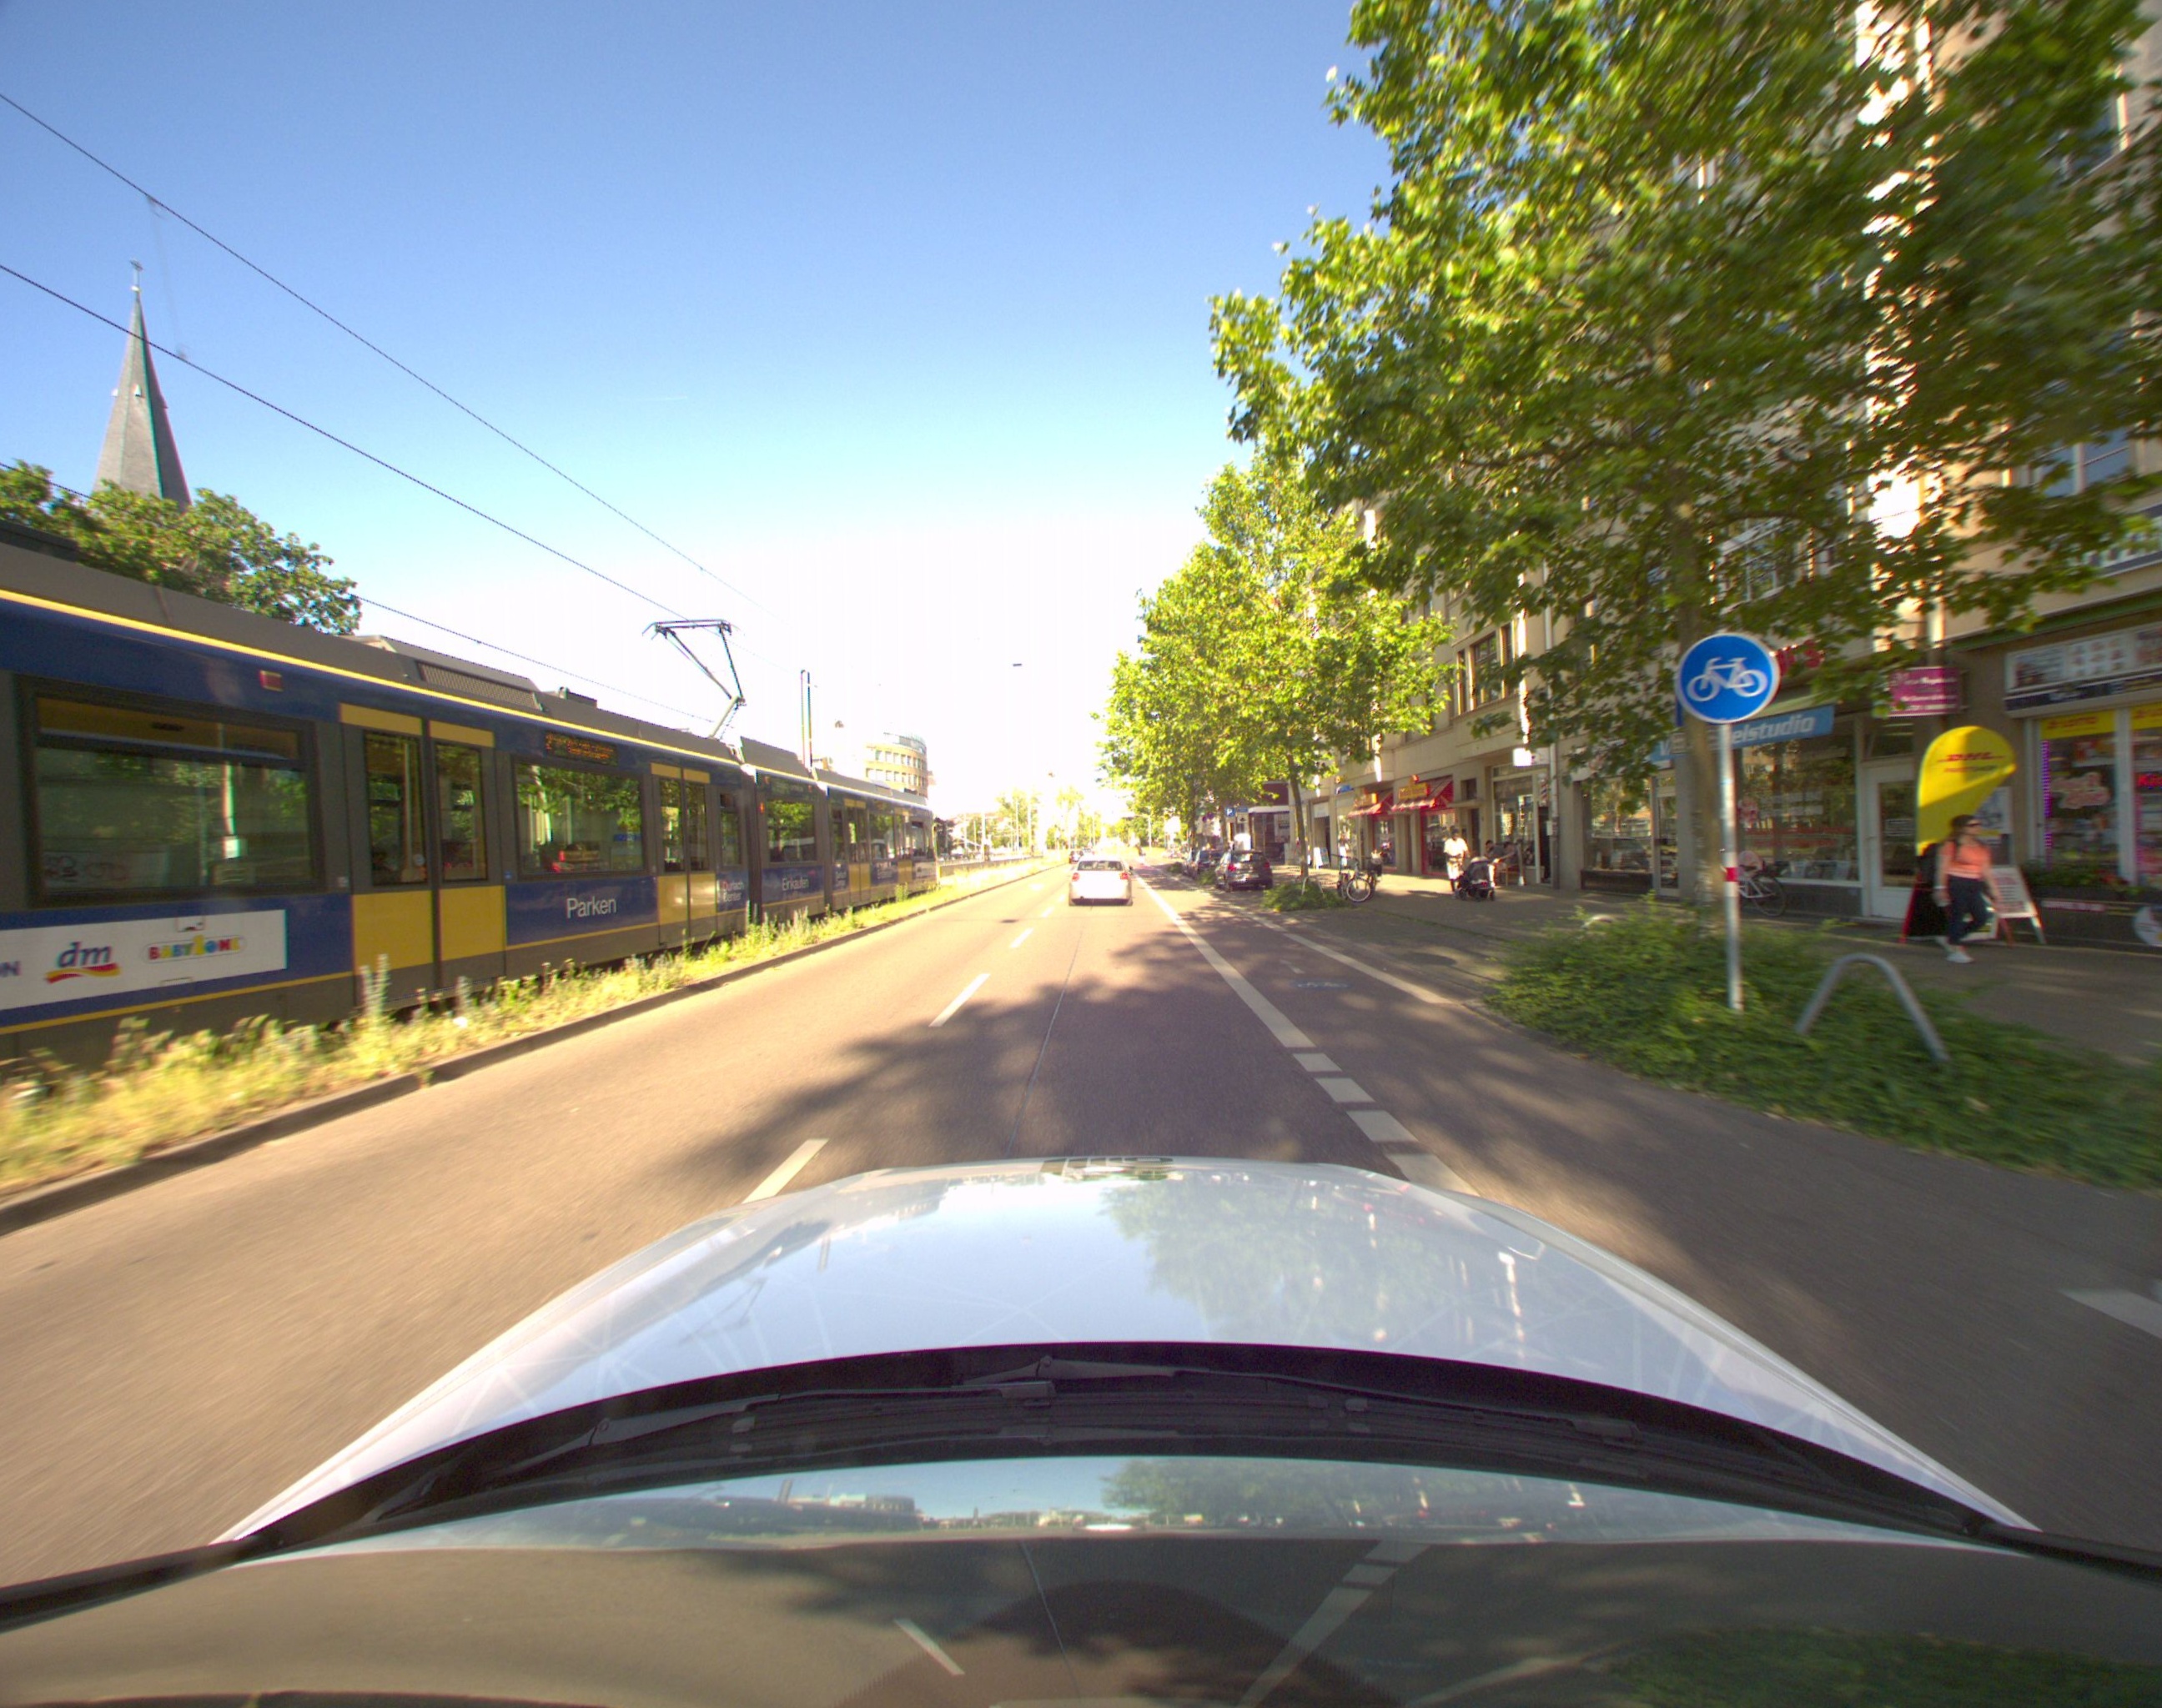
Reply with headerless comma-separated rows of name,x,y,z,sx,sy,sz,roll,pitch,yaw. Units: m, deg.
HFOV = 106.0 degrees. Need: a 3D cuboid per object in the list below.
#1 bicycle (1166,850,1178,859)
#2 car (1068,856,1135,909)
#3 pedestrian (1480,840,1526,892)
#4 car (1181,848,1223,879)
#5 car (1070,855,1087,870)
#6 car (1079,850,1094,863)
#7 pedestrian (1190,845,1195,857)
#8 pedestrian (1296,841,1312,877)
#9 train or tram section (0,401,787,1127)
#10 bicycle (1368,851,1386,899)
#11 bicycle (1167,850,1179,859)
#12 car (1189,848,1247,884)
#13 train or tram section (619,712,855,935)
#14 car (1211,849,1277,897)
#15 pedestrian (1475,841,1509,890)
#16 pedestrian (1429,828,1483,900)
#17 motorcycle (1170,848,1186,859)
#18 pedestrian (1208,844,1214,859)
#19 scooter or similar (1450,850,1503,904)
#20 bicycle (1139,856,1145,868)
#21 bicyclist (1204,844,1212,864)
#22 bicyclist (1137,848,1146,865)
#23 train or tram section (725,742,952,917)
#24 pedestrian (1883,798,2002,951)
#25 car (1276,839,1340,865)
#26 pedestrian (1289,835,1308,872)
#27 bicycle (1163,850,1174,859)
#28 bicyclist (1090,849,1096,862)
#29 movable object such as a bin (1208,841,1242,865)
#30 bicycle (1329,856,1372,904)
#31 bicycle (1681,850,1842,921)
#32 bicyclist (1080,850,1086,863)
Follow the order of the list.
bicycle,11.620,0.105,103.501,1.458,1.067,0.257,-3,-1,4
car,0.617,0.772,24.000,1.791,1.415,4.001,-1,0,1
pedestrian,11.495,0.325,22.218,0.782,1.369,0.857,-3,0,2
car,6.623,0.504,45.092,1.782,1.555,4.438,-2,0,2
car,-0.228,0.910,85.901,1.721,1.470,4.409,-1,0,0
car,0.662,0.302,93.948,1.638,1.421,4.002,-1,0,2
pedestrian,17.588,-0.468,128.900,0.786,2.013,0.872,0,0,9
pedestrian,10.819,0.219,39.516,0.555,1.711,0.770,-2,0,2
train or tram section,-6.985,-0.476,7.162,2.916,3.812,14.284,0,0,3
bicycle,7.967,0.533,21.910,0.382,1.207,1.883,-2,0,20
bicycle,11.607,0.104,103.156,1.458,1.067,0.257,-3,-1,4
car,6.263,0.518,37.642,2.031,1.509,4.596,-2,0,2
train or tram section,-6.572,-0.537,16.194,2.944,3.897,3.867,0,0,2
car,5.937,0.650,30.054,1.688,1.502,3.803,-4,1,2
pedestrian,11.645,0.316,23.097,0.533,1.332,0.821,-3,0,2
pedestrian,9.166,0.240,19.950,0.856,1.704,0.916,-2,0,-1
motorcycle,11.708,-0.049,98.666,1.846,1.301,0.653,-2,0,5
pedestrian,14.405,-0.282,90.343,0.570,1.582,0.557,-2,0,2
scooter or similar,9.206,0.518,18.981,0.742,1.171,0.849,-4,0,-1
bicycle,5.659,0.697,75.404,0.497,1.088,1.998,0,0,2
bicyclist,10.906,0.004,70.033,0.597,1.690,0.599,-2,0,12
bicyclist,5.640,0.225,75.474,0.782,1.531,0.895,0,0,2
train or tram section,-6.270,-0.553,23.557,2.941,3.897,10.808,0,0,2
pedestrian,9.547,0.219,9.045,0.680,1.621,0.562,-2,0,-1
car,16.921,-0.138,60.873,4.283,1.788,1.996,-1,0,1
pedestrian,11.553,-0.043,43.250,0.711,1.900,0.864,-2,0,2
bicycle,11.651,0.049,108.196,1.458,1.067,0.257,-3,-1,4
bicyclist,1.470,0.178,99.577,0.616,1.571,0.684,-2,0,-10
movable object such as a bin,11.821,-0.083,66.891,1.941,1.843,3.476,-2,1,-4
bicycle,7.108,0.678,21.558,0.391,1.215,1.901,-3,-1,-2
bicycle,11.136,0.471,13.477,0.488,1.024,2.624,-4,0,2
bicyclist,0.231,0.303,99.175,0.614,1.571,0.687,0,0,3
